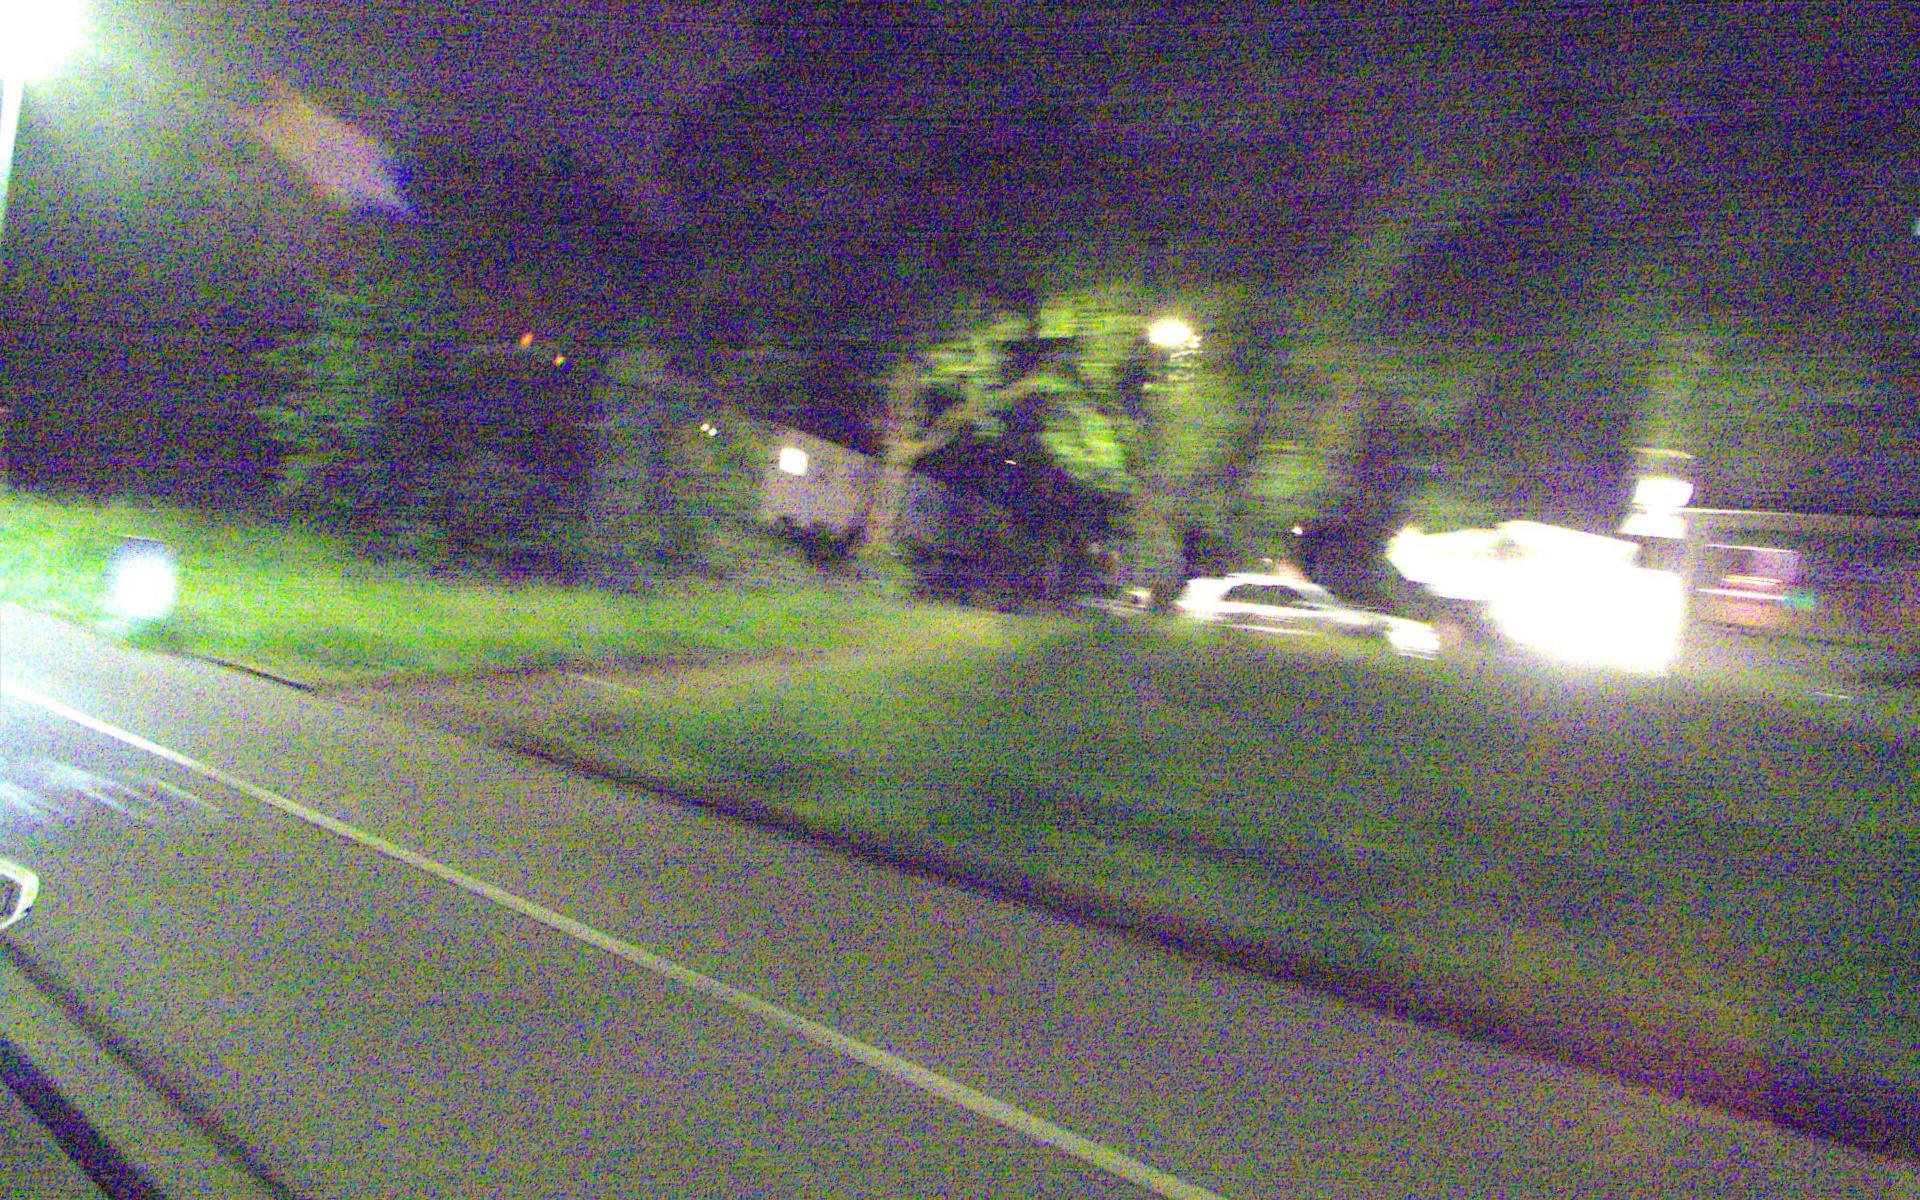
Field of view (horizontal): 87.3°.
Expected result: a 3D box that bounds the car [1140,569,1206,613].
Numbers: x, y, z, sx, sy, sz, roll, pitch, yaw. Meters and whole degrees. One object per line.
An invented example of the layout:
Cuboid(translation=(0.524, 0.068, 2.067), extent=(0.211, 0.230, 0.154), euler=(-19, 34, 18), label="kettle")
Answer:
Cuboid(translation=(10.734, -0.424, 50.494), extent=(1.924, 1.861, 4.201), euler=(7, 1, 29), label="car")

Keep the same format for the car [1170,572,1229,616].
Cuboid(translation=(13.104, -0.293, 54.917), extent=(1.966, 2.039, 3.992), euler=(7, 1, 29), label="car")

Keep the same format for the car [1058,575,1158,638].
Cuboid(translation=(5.226, 0.264, 34.994), extent=(1.924, 1.861, 4.201), euler=(7, 1, 29), label="car")

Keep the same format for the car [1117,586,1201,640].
Cuboid(translation=(8.037, 0.561, 40.356), extent=(1.924, 1.861, 4.201), euler=(7, 1, 29), label="car")

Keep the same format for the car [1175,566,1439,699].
Cuboid(translation=(6.284, 0.538, 18.352), extent=(4.048, 1.862, 1.951), euler=(7, 2, 34), label="car")

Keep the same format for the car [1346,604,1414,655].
Cuboid(translation=(17.051, 1.215, 40.731), extent=(1.924, 1.760, 4.201), euler=(7, 1, 29), label="car")
